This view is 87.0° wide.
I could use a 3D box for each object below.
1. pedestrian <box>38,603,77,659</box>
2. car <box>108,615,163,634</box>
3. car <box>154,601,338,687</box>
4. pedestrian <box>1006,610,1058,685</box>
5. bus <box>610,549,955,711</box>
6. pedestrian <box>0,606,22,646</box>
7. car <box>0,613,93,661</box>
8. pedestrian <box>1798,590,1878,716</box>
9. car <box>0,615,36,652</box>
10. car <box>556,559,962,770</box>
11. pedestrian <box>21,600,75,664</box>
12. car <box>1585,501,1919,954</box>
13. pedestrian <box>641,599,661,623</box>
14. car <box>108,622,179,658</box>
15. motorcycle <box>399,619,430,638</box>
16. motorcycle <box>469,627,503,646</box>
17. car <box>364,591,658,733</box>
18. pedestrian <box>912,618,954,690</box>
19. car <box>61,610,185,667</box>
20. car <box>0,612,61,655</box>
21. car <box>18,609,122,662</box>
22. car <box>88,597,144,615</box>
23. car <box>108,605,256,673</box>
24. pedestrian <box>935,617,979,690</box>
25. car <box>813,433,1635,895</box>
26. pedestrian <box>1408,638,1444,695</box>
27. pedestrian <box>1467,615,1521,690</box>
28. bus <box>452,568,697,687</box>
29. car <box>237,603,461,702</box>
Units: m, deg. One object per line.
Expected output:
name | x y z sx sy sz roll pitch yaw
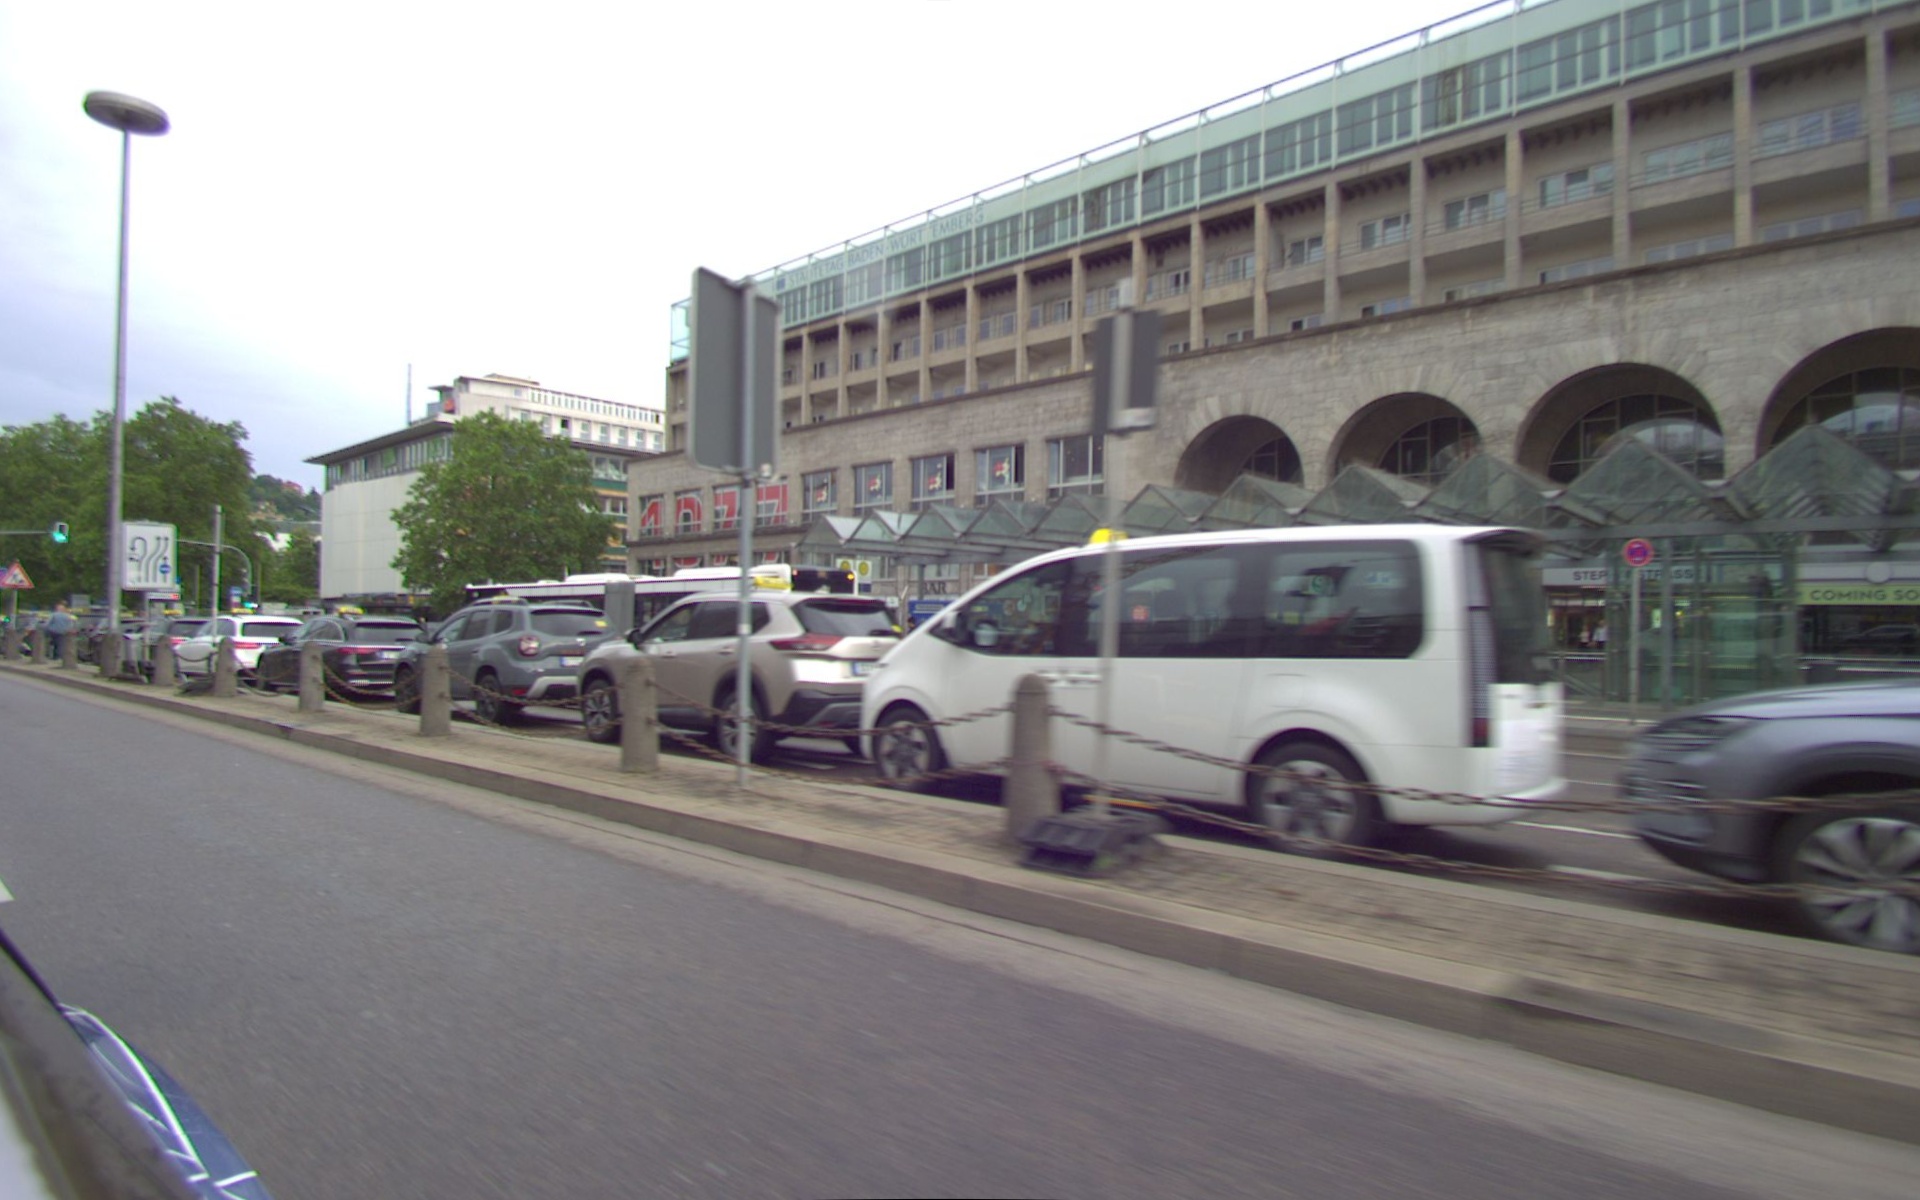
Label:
pedestrian | -26.785 0.919 30.028 0.995 1.619 0.715 -2 -1 40
car | -79.678 2.365 97.835 3.682 1.554 1.857 -3 2 -13
car | -15.753 0.922 22.223 5.188 1.672 1.956 -1 -3 40
pedestrian | 1.793 1.167 25.228 1.026 1.822 0.732 -2 -1 42
bus | -5.026 0.747 26.385 10.568 3.486 2.847 -1 -2 41
pedestrian | -44.361 1.212 47.101 0.604 1.789 0.777 0 -4 28
car | -34.855 1.380 38.571 4.678 1.703 1.910 -1 -3 40
pedestrian | 14.681 0.870 16.949 0.960 2.029 0.833 -1 -2 41
car | -43.679 1.510 45.886 4.838 1.633 1.994 -1 -2 40
car | -2.338 0.617 11.009 4.580 1.820 1.909 -1 -3 41
pedestrian | -26.042 0.901 28.910 0.616 1.782 1.040 -1 -2 39
car | 5.287 0.489 3.752 4.781 1.735 1.972 -1 -2 42
pedestrian | -14.716 0.509 48.239 0.693 1.117 0.624 -1 0 27
car | -41.530 2.034 51.441 4.678 1.703 1.910 -1 -3 40
motorcycle | -30.803 1.605 57.176 0.600 1.065 1.429 -2 -1 29
motorcycle | -28.544 2.195 61.004 0.583 1.143 1.790 -1 -1 41
car | -6.591 0.809 14.577 4.882 1.712 1.910 -1 -3 40
pedestrian | -0.676 1.330 25.289 0.855 1.738 0.617 -2 -1 41
car | -25.465 1.142 30.730 5.256 1.589 1.910 -1 -3 40
car | -39.273 1.363 42.217 4.678 1.703 1.910 -1 -3 40
car | -30.510 1.196 34.636 4.678 1.703 1.910 -1 -3 40
car | -97.752 0.669 117.248 2.035 2.029 4.767 -2 -1 42
car | -20.204 0.978 26.196 5.007 1.589 1.910 -1 -3 40
pedestrian | -0.067 1.294 24.697 0.855 1.738 0.617 -2 -1 41
car | 1.485 0.364 7.415 5.542 2.195 1.972 -1 -2 42
pedestrian | 13.376 1.894 29.051 0.756 1.579 0.623 -2 -1 42
pedestrian | 12.232 1.179 23.195 0.894 1.668 0.748 -2 -1 43
bus | -12.979 0.893 33.349 10.568 3.402 2.847 -1 -2 41
car | -11.291 0.898 18.541 5.047 1.589 1.910 -1 -3 40
